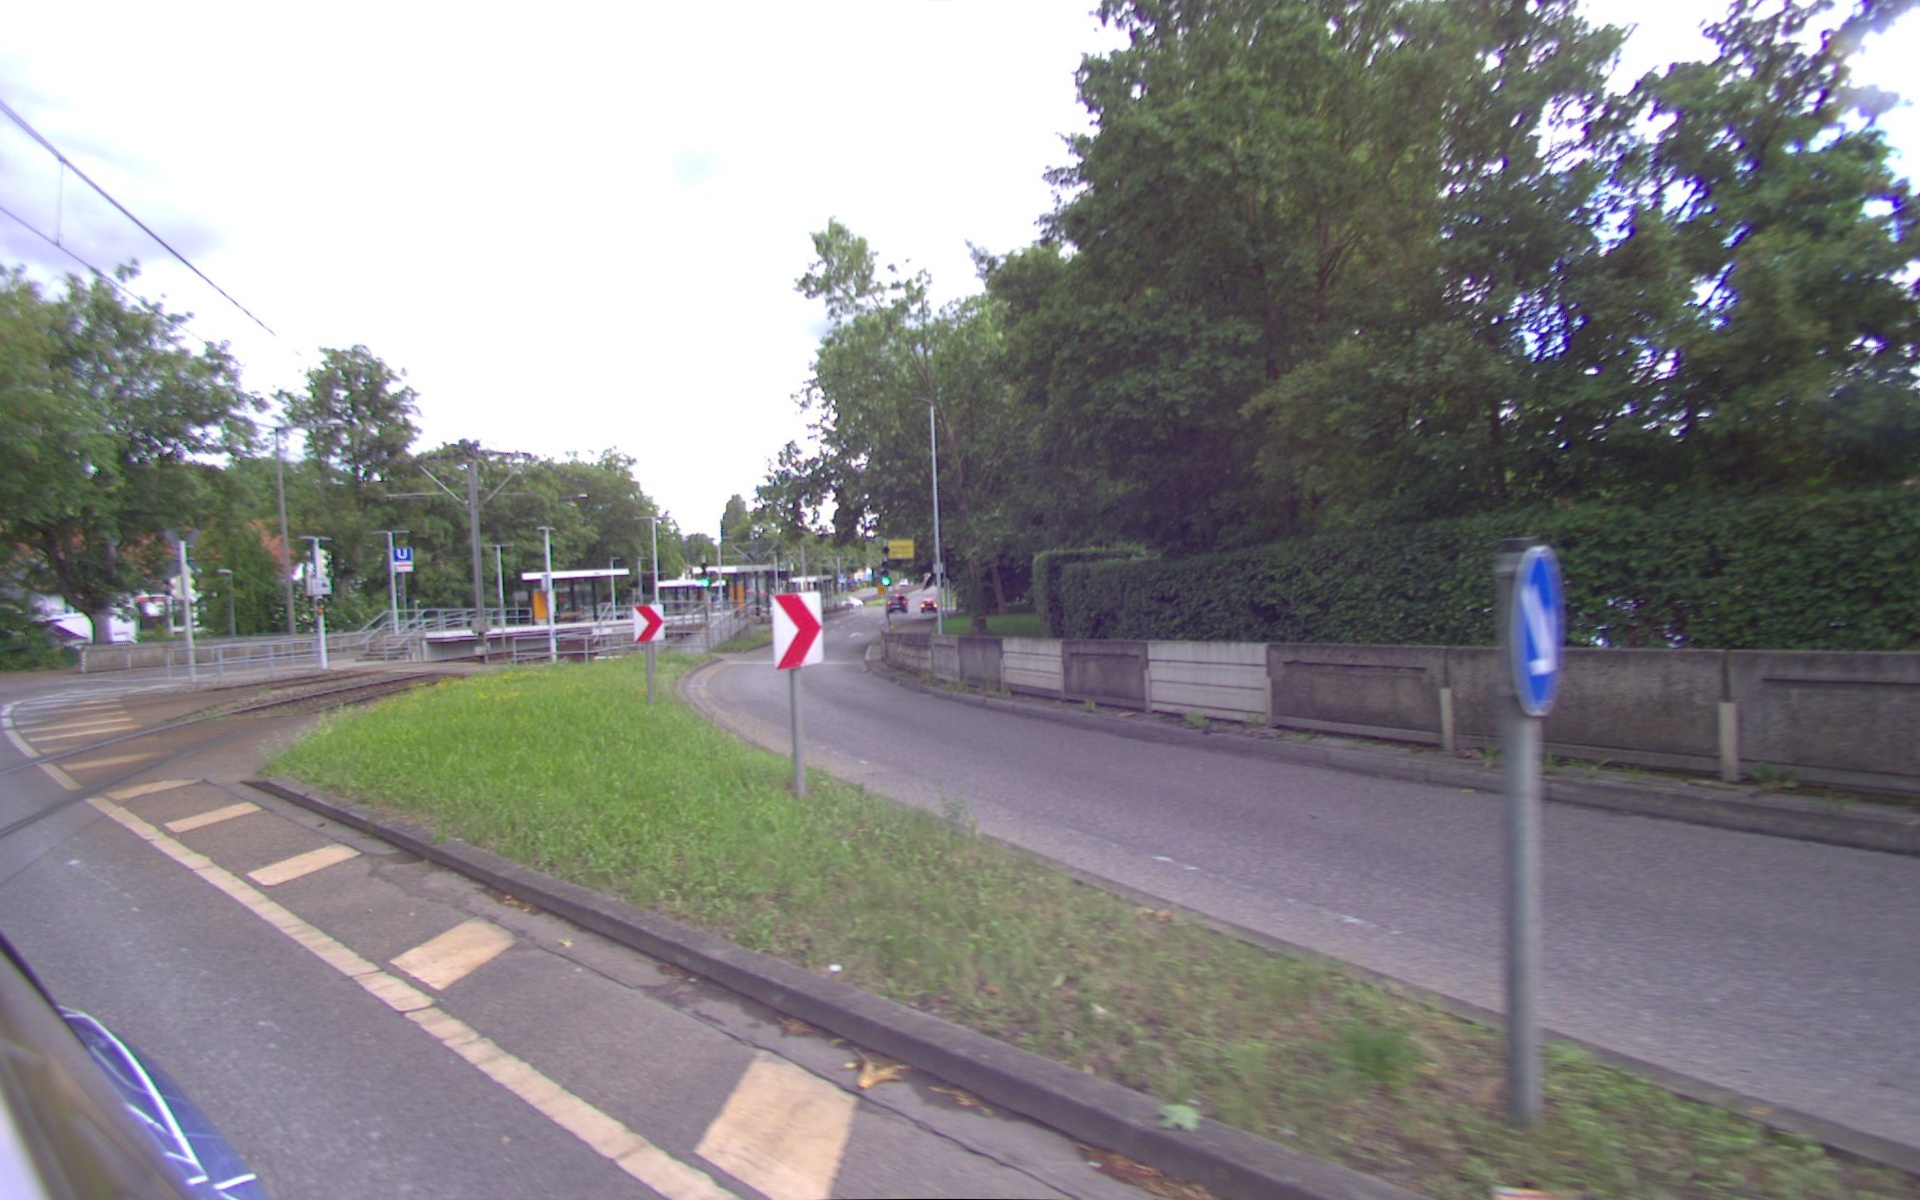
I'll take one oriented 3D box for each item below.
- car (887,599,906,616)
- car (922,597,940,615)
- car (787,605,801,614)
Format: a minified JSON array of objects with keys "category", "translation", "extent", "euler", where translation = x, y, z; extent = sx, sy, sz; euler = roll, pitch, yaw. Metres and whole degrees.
[{"category":"car","translation":[-6.727,0.777,108.077],"extent":[1.747,1.712,3.793],"euler":[-1,0,1]},{"category":"car","translation":[-3.064,0.641,107.472],"extent":[1.718,1.853,3.799],"euler":[-1,0,1]},{"category":"car","translation":[-25.405,1.480,155.195],"extent":[1.692,1.294,3.576],"euler":[-1,0,-2]}]
